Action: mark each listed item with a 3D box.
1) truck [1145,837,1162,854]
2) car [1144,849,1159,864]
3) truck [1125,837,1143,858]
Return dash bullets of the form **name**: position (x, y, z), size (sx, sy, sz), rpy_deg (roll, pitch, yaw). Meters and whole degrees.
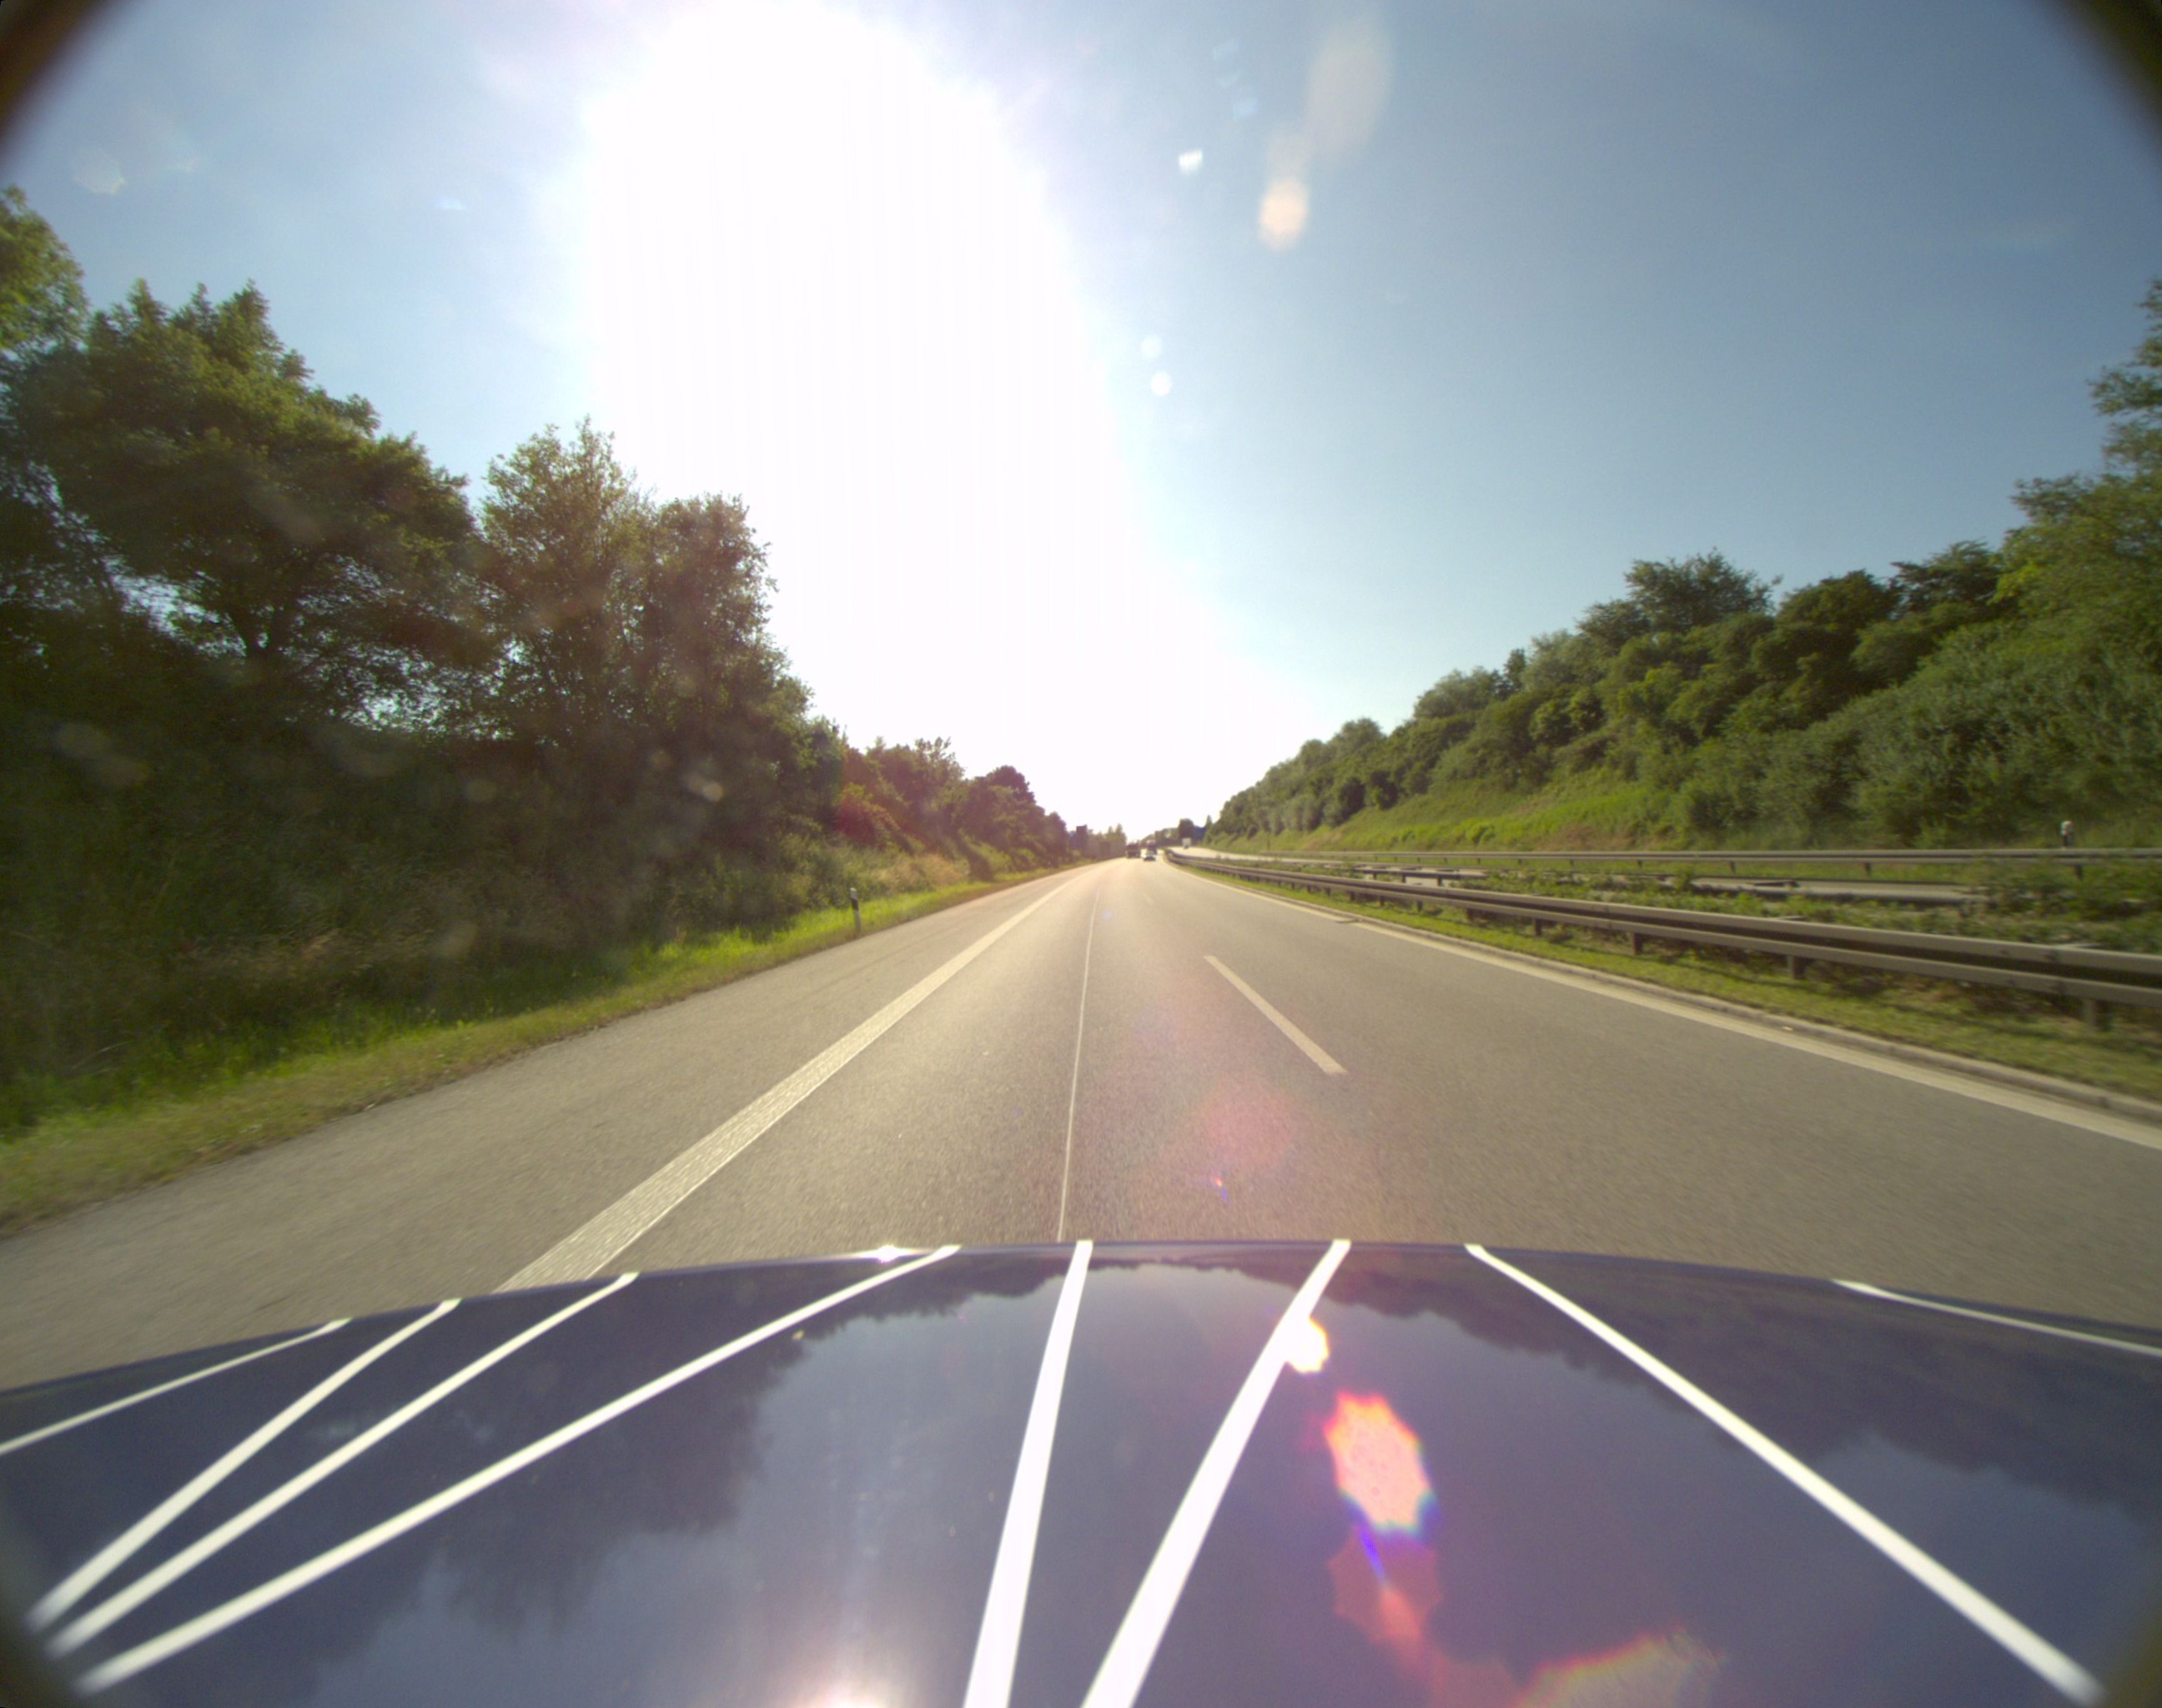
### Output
- **truck**: position (19.167, -2.185, 202.554), size (3.434, 4.187, 12.085), rpy_deg (-2, 0, 1)
- **car**: position (10.416, 0.374, 111.449), size (1.997, 2.002, 4.601), rpy_deg (-2, 0, 7)
- **truck**: position (10.994, -1.367, 158.675), size (3.434, 4.187, 12.087), rpy_deg (-2, 0, 3)
